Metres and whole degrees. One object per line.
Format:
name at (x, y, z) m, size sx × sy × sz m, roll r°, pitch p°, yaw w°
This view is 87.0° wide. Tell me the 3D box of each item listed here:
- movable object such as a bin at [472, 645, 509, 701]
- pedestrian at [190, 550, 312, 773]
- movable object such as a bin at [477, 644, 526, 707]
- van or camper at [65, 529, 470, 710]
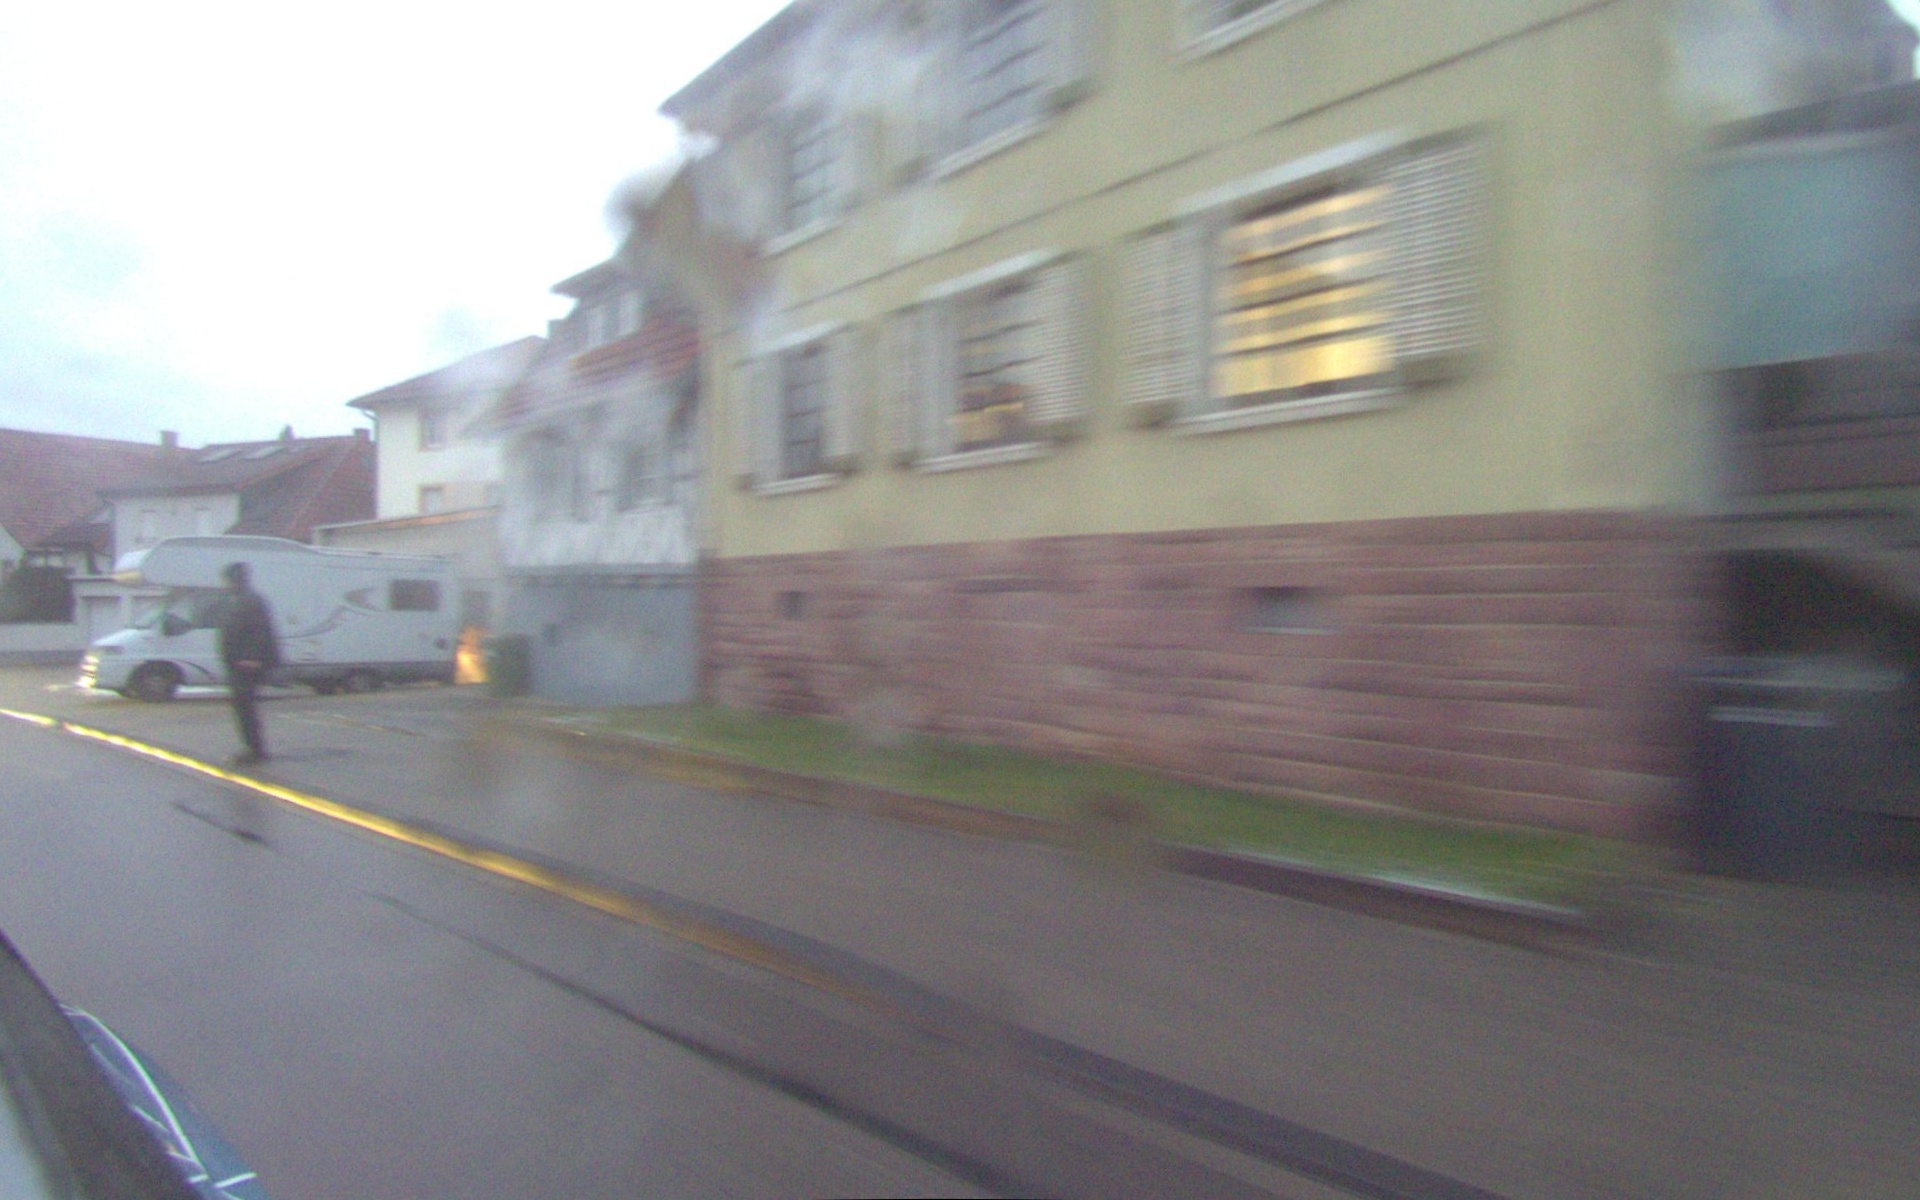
movable object such as a bin at (-8.190, 1.263, 17.649) m, size 0.451 × 0.955 × 0.502 m, roll 0°, pitch -2°, yaw -44°
pedestrian at (-6.858, 0.556, 9.790) m, size 0.869 × 2.029 × 0.775 m, roll -1°, pitch 0°, yaw 42°
movable object such as a bin at (-7.799, 1.269, 17.213) m, size 0.609 × 1.028 × 0.581 m, roll 0°, pitch -2°, yaw -44°
van or camper at (-13.099, 0.492, 19.599) m, size 2.323 × 2.964 × 5.994 m, roll -2°, pitch -4°, yaw 41°
